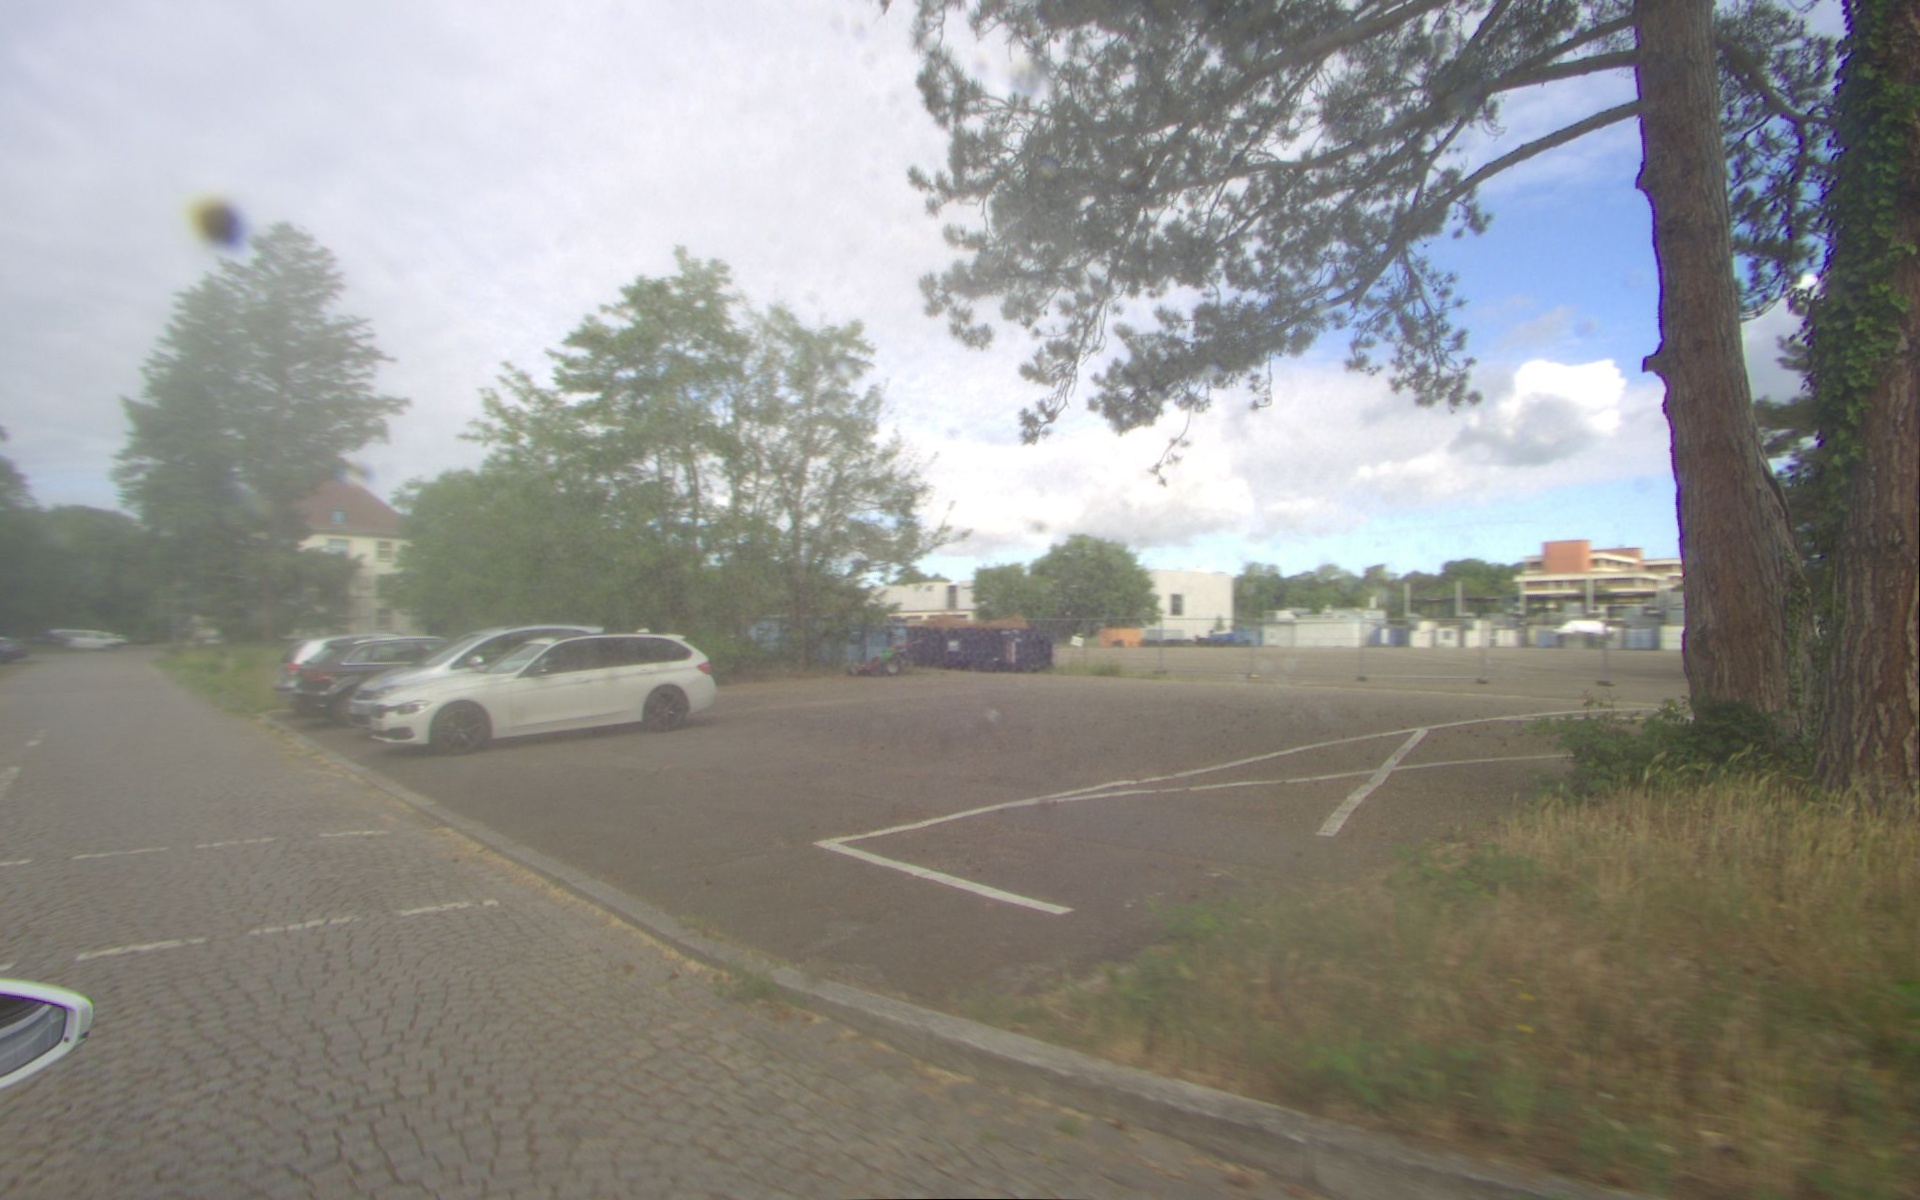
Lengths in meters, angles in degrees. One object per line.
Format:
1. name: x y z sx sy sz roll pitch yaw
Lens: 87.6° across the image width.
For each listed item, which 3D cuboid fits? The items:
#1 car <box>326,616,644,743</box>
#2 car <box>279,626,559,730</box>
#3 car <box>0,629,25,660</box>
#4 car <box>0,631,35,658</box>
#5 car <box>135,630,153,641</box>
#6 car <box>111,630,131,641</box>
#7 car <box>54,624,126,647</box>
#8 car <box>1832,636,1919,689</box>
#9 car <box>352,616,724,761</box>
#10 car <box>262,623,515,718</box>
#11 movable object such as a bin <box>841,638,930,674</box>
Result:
1. car: -7.490 1.150 16.066 4.211 1.617 1.867 -2 1 -44
2. car: -9.546 1.277 17.848 4.044 1.472 1.868 -2 1 -43
3. car: -52.380 2.324 52.963 4.200 1.597 1.870 3 -3 -42
4. car: -55.300 2.487 56.603 4.270 1.479 1.959 3 -3 -39
5. car: -122.009 5.347 149.764 1.937 1.541 3.965 2 -3 -42
6. car: -123.832 5.286 147.803 2.103 1.541 3.965 2 -3 -41
7. car: -83.524 3.413 96.175 5.200 2.195 1.982 2 -2 -43
8. car: 28.452 1.887 30.914 3.961 1.501 1.954 2 -2 -43
9. car: -5.818 1.097 14.167 4.460 1.586 1.887 -2 1 -43
10. car: -11.267 1.302 19.911 4.044 1.535 1.787 -2 1 -43
11. movable object such as a bin: -2.131 1.615 29.127 2.664 1.001 0.845 2 -2 -44
